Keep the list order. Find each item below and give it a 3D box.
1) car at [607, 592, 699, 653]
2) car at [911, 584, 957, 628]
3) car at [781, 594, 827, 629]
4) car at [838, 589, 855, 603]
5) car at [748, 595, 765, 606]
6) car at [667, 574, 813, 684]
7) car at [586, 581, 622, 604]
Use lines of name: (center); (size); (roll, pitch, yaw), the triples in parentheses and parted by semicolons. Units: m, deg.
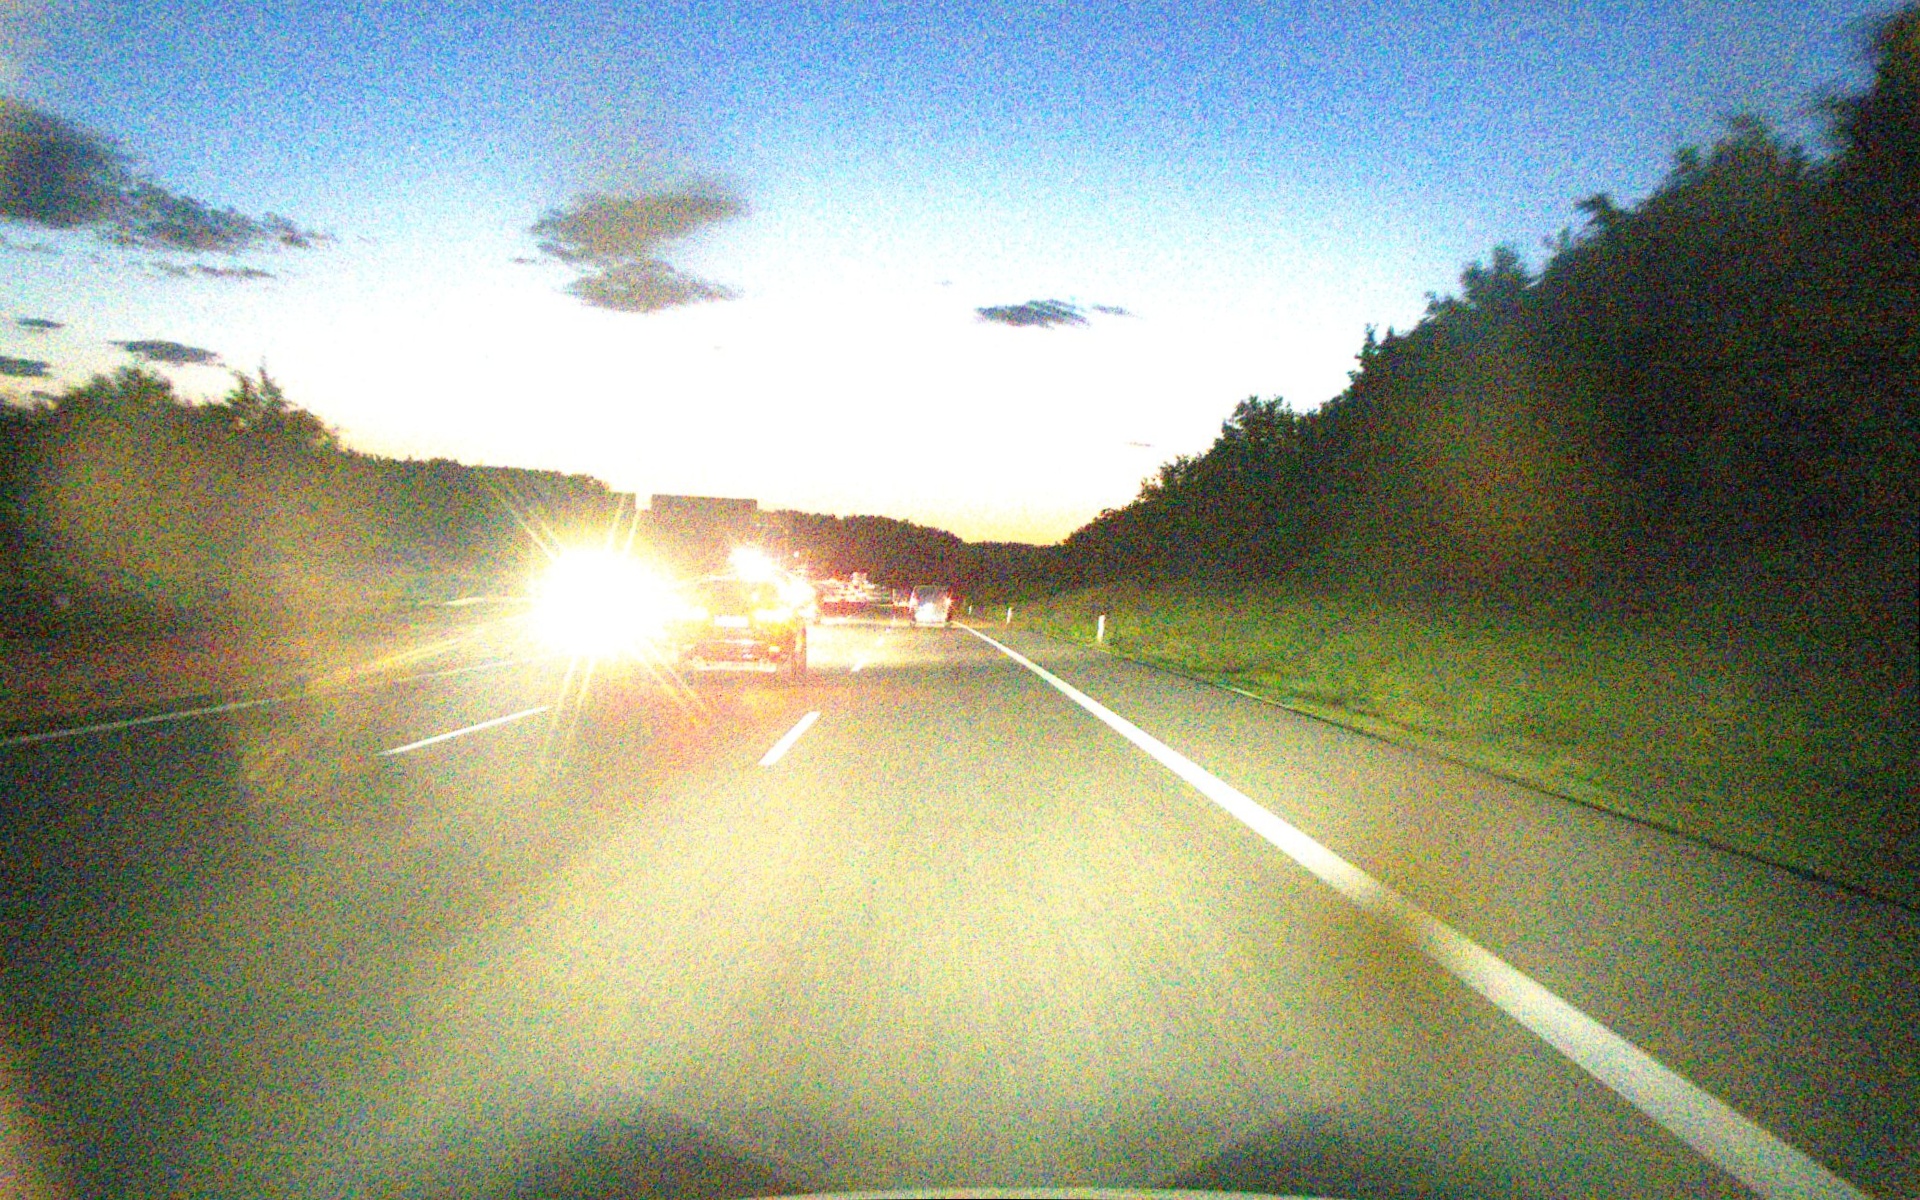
car: (-7.896, 0.550, 42.943); (1.518, 1.456, 5.512); (0, 0, -2)
car: (-1.257, 0.259, 79.182); (2.152, 1.989, 4.762); (0, 1, -1)
car: (-7.901, 0.547, 84.016); (1.743, 1.512, 5.254); (4, 1, 0)
car: (-17.862, -0.675, 260.854); (2.152, 1.989, 4.634); (4, 1, 0)
car: (-29.482, -0.004, 240.116); (1.953, 1.535, 5.182); (1, 0, -2)
car: (-3.767, 0.470, 29.327); (1.953, 1.751, 5.940); (0, 0, -2)
car: (-25.337, -0.535, 117.952); (1.954, 1.535, 3.996); (1, 0, -4)
